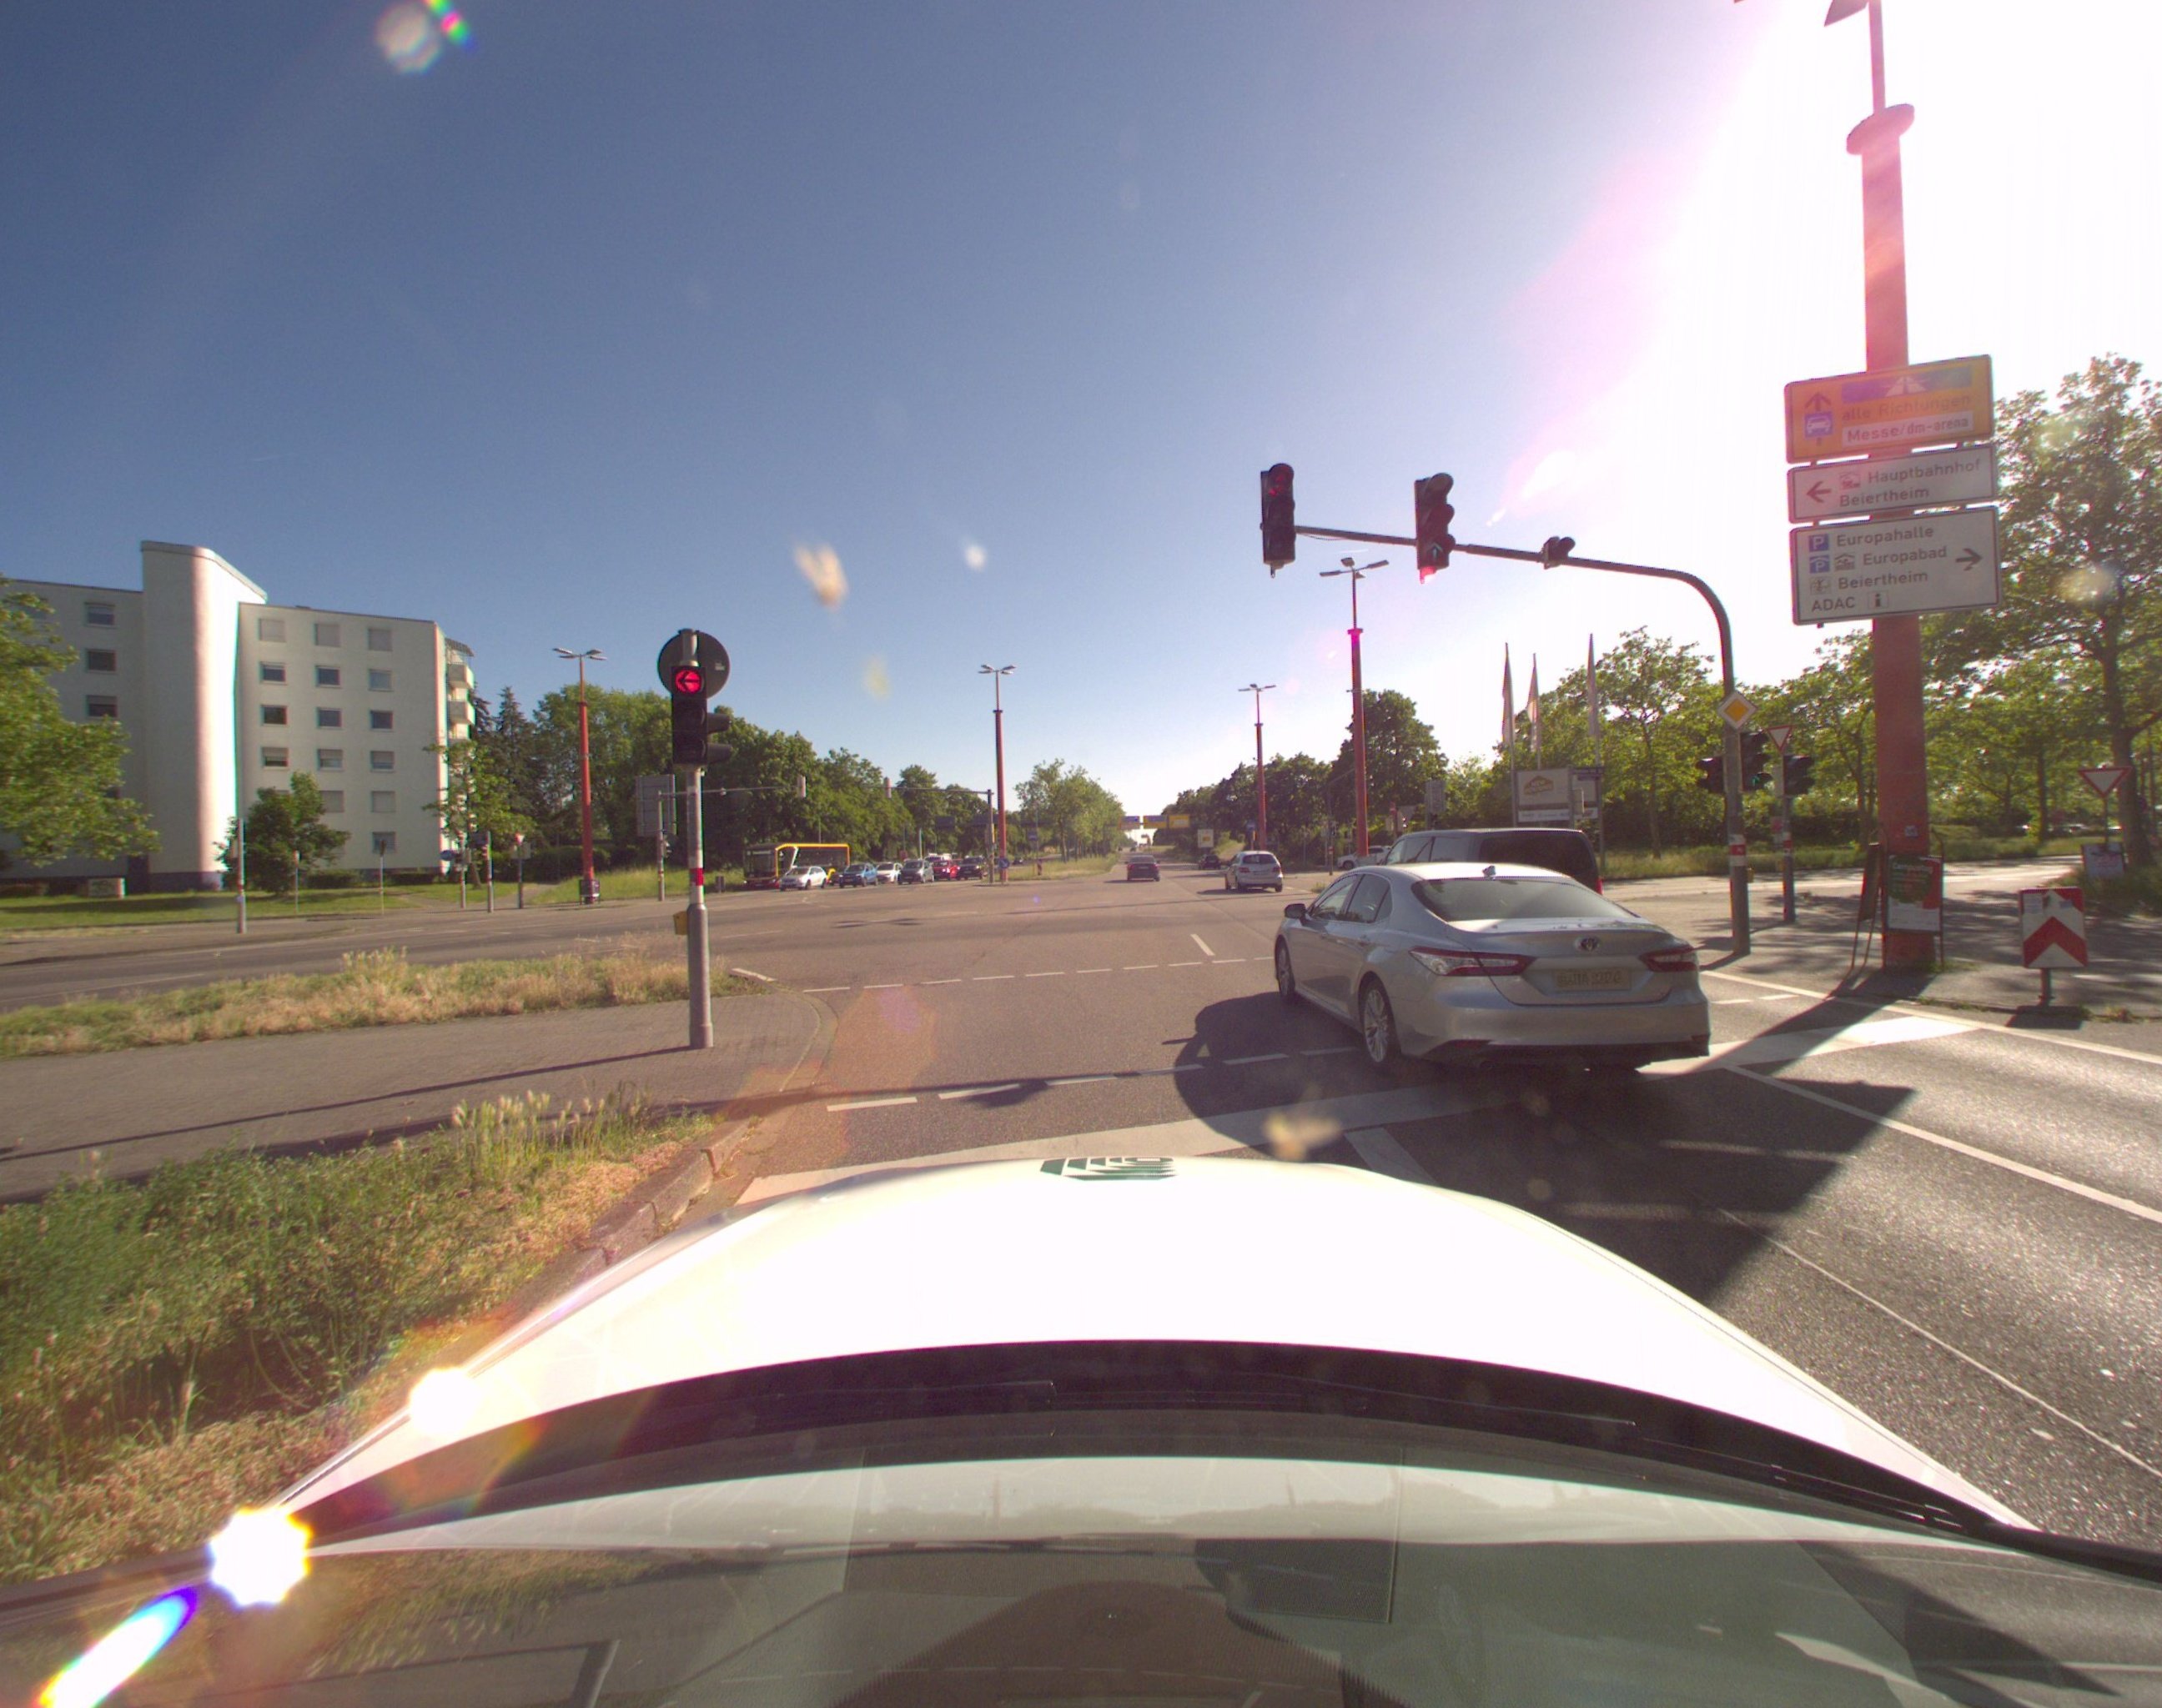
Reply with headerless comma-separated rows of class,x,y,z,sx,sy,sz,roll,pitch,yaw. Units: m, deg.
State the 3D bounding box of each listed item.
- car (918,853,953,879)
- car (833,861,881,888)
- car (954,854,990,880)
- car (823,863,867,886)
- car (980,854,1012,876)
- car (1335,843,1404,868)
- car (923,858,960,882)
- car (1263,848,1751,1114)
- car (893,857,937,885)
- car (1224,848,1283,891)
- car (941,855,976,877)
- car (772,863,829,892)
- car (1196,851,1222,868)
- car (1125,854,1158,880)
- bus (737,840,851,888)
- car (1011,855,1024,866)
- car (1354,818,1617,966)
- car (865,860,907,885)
car,-12.716,0.994,71.300,1.954,2.155,5.083,-2,0,1
car,-14.130,1.281,51.615,1.794,1.515,3.861,-3,0,2
car,-7.521,0.853,56.702,1.787,1.626,4.144,-3,0,1
car,-17.551,1.497,60.678,1.877,1.513,4.003,-3,0,3
car,-6.671,0.857,64.166,1.878,1.543,4.002,-3,0,2
car,20.210,0.113,57.102,4.243,1.635,1.781,-2,0,30
car,-10.060,1.120,59.023,1.869,1.552,4.000,-5,0,0
car,2.940,0.715,6.957,1.798,1.493,4.683,0,0,1
car,-10.689,1.074,52.696,1.867,1.550,4.029,-3,0,2
car,6.908,0.602,32.884,1.709,1.608,3.849,0,-1,2
car,-9.740,0.928,65.020,1.893,1.630,4.003,-1,0,3
car,-17.637,1.419,51.416,1.869,1.652,4.222,-3,-1,3
car,12.417,0.534,79.360,1.759,1.635,4.296,0,-1,-1
car,3.420,0.718,46.398,1.757,1.441,4.298,0,0,3
bus,-21.309,0.738,61.641,2.631,3.261,12.563,0,0,8
car,-11.595,1.139,149.321,1.913,1.999,4.605,-2,0,1
car,6.084,0.488,13.085,1.797,1.852,5.106,-2,0,2
car,-13.767,1.282,57.762,1.895,1.555,4.000,-3,0,0
